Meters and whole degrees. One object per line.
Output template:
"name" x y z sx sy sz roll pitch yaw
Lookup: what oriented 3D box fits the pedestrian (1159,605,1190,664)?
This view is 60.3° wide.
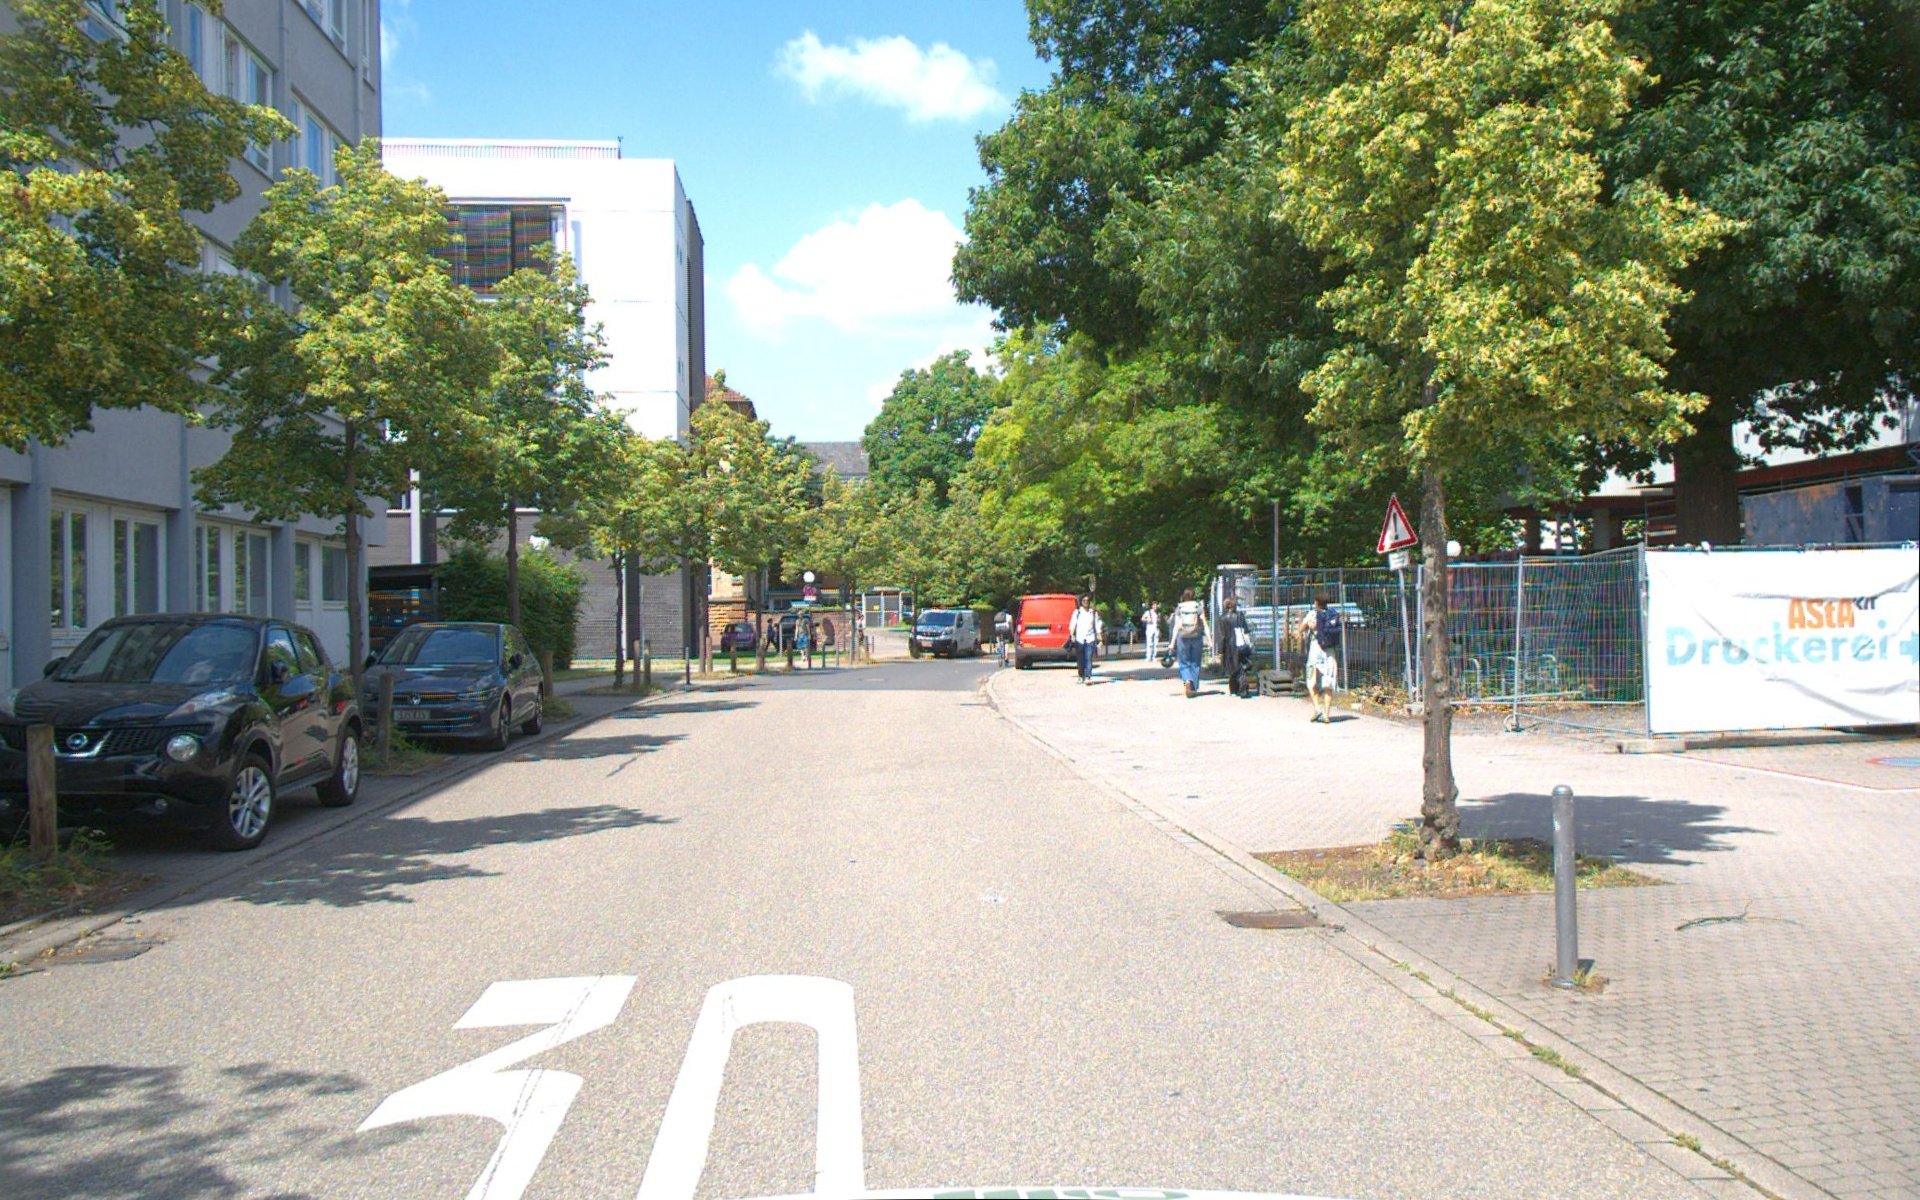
"pedestrian" 6.322 1.016 48.739 0.738 1.740 0.556 0 -2 -41

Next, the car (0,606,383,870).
"car" -5.609 0.872 12.185 1.664 1.591 4.062 -1 -1 -6

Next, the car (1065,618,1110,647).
"car" 7.284 1.842 94.162 1.722 1.548 4.114 -1 -1 16

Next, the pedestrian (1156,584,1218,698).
"pedestrian" 3.652 0.655 26.714 0.833 1.795 0.715 -1 -1 -3

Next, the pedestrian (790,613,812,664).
"pedestrian" -5.599 1.344 58.171 0.571 1.795 0.912 -1 -1 6

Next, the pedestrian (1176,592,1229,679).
"pedestrian" 4.686 0.683 32.011 0.705 1.660 0.704 0 -1 -30

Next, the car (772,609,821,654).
"car" -7.587 1.440 76.332 2.133 1.959 5.178 -1 -1 -7

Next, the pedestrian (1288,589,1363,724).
"pedestrian" 4.708 0.717 21.346 0.637 1.695 0.903 -1 -1 -8

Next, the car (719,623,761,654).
"car" -10.103 1.773 76.077 1.782 1.347 3.763 -1 -1 -6

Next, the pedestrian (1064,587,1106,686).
"pedestrian" 2.332 0.680 30.980 0.680 1.812 0.787 -1 -1 0

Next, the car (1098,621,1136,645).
"car" 9.653 1.997 101.427 1.581 1.412 4.002 -1 -1 16

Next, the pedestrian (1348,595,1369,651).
"pedestrian" 13.389 0.773 55.603 0.532 1.869 0.762 -1 -1 2

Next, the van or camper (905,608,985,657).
"van or camper" -0.582 1.336 68.648 1.912 1.957 5.423 0 -1 15

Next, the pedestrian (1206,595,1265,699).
"pedestrian" 4.439 0.744 26.666 0.656 1.628 0.984 -1 -1 -6

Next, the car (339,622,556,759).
"car" -6.137 1.023 20.278 1.744 1.487 4.253 0 -1 -6

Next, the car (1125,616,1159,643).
"car" 12.118 1.943 109.764 1.581 1.708 4.002 -1 -1 16

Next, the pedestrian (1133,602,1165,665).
"pedestrian" 5.657 1.006 49.503 0.717 1.854 0.621 0 -2 -40

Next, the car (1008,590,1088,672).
"car" 2.315 0.769 42.241 1.809 1.924 4.893 -1 -1 5

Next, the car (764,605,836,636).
"car" -9.903 1.242 102.358 4.098 1.855 1.987 0 -1 -22
